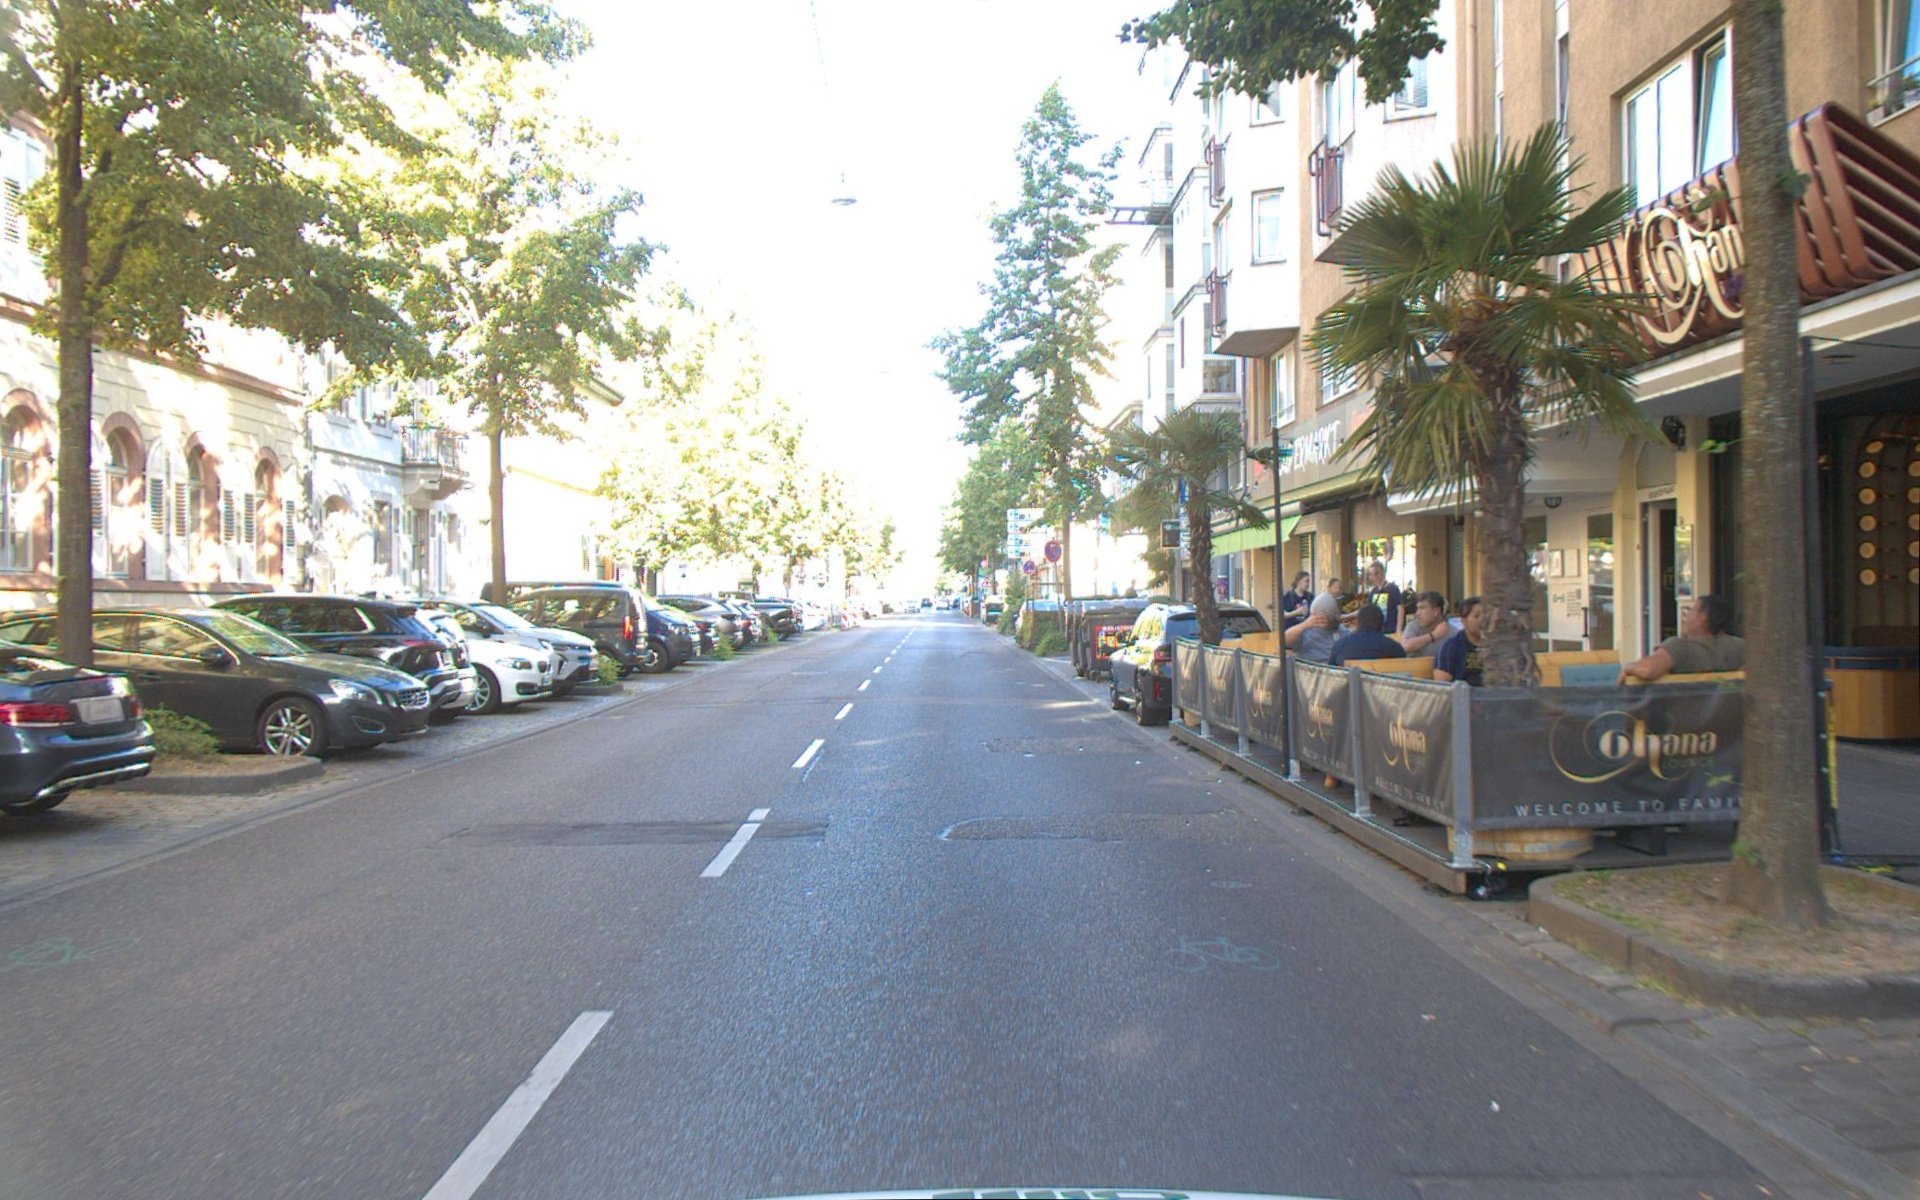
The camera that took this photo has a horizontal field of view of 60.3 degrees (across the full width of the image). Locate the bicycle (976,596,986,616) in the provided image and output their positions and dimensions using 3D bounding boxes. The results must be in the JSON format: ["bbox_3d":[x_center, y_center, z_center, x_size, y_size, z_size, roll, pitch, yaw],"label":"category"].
[{"bbox_3d":[1.586,0.478,126.804,0.549,1.465,1.628,-7,0,-1],"label":"bicycle"}]

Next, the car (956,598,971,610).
[{"bbox_3d":[0.504,0.584,227.825,1.953,1.534,3.999,0,-1,-1],"label":"car"}]

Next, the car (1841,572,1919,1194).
[{"bbox_3d":[3.392,0.697,2.157,1.785,1.624,4.841,-3,0,-1],"label":"car"}]

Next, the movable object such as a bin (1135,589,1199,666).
[{"bbox_3d":[4.047,0.524,32.484,1.055,1.456,1.295,-1,0,-1],"label":"movable object such as a bin"}]

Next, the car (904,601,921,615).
[{"bbox_3d":[-5.221,0.891,181.130,1.766,1.460,4.408,-3,0,-2],"label":"car"}]

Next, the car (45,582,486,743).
[{"bbox_3d":[-7.852,0.680,19.029,4.251,1.739,1.916,0,0,-1],"label":"car"}]

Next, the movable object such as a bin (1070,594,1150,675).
[{"bbox_3d":[2.829,0.633,31.295,1.370,1.479,1.146,-1,0,-1],"label":"movable object such as a bin"}]

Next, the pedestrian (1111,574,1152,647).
[{"bbox_3d":[4.756,0.288,45.738,0.906,1.969,0.761,-1,0,24],"label":"pedestrian"}]

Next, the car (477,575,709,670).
[{"bbox_3d":[-7.896,0.472,35.908,4.584,1.984,1.917,0,0,0],"label":"car"}]

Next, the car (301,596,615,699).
[{"bbox_3d":[-7.884,0.734,26.248,4.373,1.568,1.917,0,0,2],"label":"car"}]

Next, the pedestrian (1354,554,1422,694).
[{"bbox_3d":[5.385,0.300,20.814,0.498,1.725,0.622,-1,0,-38],"label":"pedestrian"}]

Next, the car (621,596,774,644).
[{"bbox_3d":[-8.311,0.626,52.632,4.584,1.488,1.808,0,0,0],"label":"car"}]

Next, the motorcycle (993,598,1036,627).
[{"bbox_3d":[2.644,0.601,80.322,1.943,1.353,0.909,-1,0,-13],"label":"motorcycle"}]

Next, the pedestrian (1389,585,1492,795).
[{"bbox_3d":[3.707,0.677,12.808,0.696,1.563,0.770,-1,0,14],"label":"pedestrian"}]

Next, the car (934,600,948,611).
[{"bbox_3d":[-2.553,0.761,220.528,1.756,1.436,3.999,-1,0,-1],"label":"car"}]

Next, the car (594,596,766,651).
[{"bbox_3d":[-7.975,0.666,47.386,4.584,1.546,1.808,0,0,0],"label":"car"}]

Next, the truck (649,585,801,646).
[{"bbox_3d":[-8.157,0.531,57.694,4.982,1.972,1.999,-1,0,-2],"label":"truck"}]

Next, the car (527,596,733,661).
[{"bbox_3d":[-7.781,0.662,39.237,4.551,1.485,1.683,0,0,-1],"label":"car"}]

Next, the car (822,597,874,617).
[{"bbox_3d":[-8.664,0.522,128.500,3.906,1.414,1.999,-1,0,-2],"label":"car"}]

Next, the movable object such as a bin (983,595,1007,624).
[{"bbox_3d":[1.906,0.514,90.646,1.118,1.589,1.460,-1,0,7],"label":"movable object such as a bin"}]

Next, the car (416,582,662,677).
[{"bbox_3d":[-8.307,0.570,32.908,4.374,1.803,1.917,0,0,0],"label":"car"}]

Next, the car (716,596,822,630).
[{"bbox_3d":[-8.470,0.570,73.755,4.588,1.491,1.807,0,0,-4],"label":"car"}]

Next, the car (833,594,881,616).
[{"bbox_3d":[-8.793,0.430,141.410,3.903,1.724,2.001,-1,0,4],"label":"car"}]

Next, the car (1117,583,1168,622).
[{"bbox_3d":[8.334,0.102,75.957,1.862,1.677,4.293,-1,0,1],"label":"car"}]

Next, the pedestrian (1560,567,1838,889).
[{"bbox_3d":[3.792,0.632,8.577,1.034,1.563,0.892,-1,0,3],"label":"pedestrian"}]

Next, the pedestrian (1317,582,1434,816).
[{"bbox_3d":[2.888,0.668,11.523,0.733,1.563,0.808,-1,0,14],"label":"pedestrian"}]

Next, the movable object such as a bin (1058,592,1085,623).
[{"bbox_3d":[5.850,0.389,86.777,1.245,1.557,1.176,-1,0,-3],"label":"movable object such as a bin"}]

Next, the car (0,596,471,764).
[{"bbox_3d":[-7.381,0.756,16.549,4.374,1.568,1.917,0,0,1],"label":"car"}]

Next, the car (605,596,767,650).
[{"bbox_3d":[-8.260,0.683,50.187,4.584,1.599,1.808,0,0,0],"label":"car"}]

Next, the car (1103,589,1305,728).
[{"bbox_3d":[3.031,0.676,21.575,1.785,1.497,4.911,-3,0,-1],"label":"car"}]

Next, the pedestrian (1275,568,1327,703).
[{"bbox_3d":[4.470,0.462,21.664,0.603,1.725,0.763,-1,0,14],"label":"pedestrian"}]

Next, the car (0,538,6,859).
[{"bbox_3d":[-7.595,0.579,8.476,4.256,1.866,1.914,0,0,-7],"label":"car"}]

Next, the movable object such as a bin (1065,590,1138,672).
[{"bbox_3d":[2.766,0.597,32.458,1.303,1.569,1.146,-1,0,-1],"label":"movable object such as a bin"}]

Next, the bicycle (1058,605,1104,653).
[{"bbox_3d":[3.109,0.729,42.670,0.597,1.139,2.051,-8,1,-10],"label":"bicycle"}]

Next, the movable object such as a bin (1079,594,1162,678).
[{"bbox_3d":[2.912,0.645,30.133,1.370,1.479,1.146,-1,0,-1],"label":"movable object such as a bin"}]

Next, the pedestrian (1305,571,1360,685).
[{"bbox_3d":[5.576,0.417,24.785,0.604,1.670,0.762,-1,0,0],"label":"pedestrian"}]

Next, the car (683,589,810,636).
[{"bbox_3d":[-8.110,0.474,63.086,4.584,1.723,1.808,0,0,0],"label":"car"}]

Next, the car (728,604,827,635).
[{"bbox_3d":[-8.678,0.940,78.926,4.588,1.437,1.807,0,0,-4],"label":"car"}]

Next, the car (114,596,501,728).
[{"bbox_3d":[-8.298,0.762,21.316,4.251,1.609,1.808,0,0,-1],"label":"car"}]

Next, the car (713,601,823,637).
[{"bbox_3d":[-8.206,0.794,70.896,4.588,1.491,1.807,0,0,-4],"label":"car"}]

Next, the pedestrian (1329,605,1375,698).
[{"bbox_3d":[5.077,0.661,21.397,0.434,1.183,0.500,-1,0,30],"label":"pedestrian"}]

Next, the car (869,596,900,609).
[{"bbox_3d":[-9.521,0.291,209.139,3.906,1.526,1.999,-1,0,-2],"label":"car"}]

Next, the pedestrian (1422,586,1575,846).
[{"bbox_3d":[3.373,0.702,10.413,0.678,1.563,0.776,-1,0,0],"label":"pedestrian"}]

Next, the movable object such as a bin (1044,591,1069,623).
[{"bbox_3d":[5.141,0.393,88.133,1.181,1.656,1.497,-1,0,-2],"label":"movable object such as a bin"}]

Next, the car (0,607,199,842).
[{"bbox_3d":[-7.725,0.789,11.194,4.252,1.464,1.915,0,0,-3],"label":"car"}]

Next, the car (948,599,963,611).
[{"bbox_3d":[-0.587,0.691,223.431,1.785,1.415,4.299,-3,0,-2],"label":"car"}]

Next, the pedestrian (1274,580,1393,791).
[{"bbox_3d":[2.875,0.637,12.822,0.637,1.563,0.979,-1,0,-2],"label":"pedestrian"}]

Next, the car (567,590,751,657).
[{"bbox_3d":[-8.065,0.612,44.569,4.584,1.742,1.808,0,0,0],"label":"car"}]

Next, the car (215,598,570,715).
[{"bbox_3d":[-7.940,0.768,23.470,4.376,1.568,1.916,0,0,-2],"label":"car"}]
